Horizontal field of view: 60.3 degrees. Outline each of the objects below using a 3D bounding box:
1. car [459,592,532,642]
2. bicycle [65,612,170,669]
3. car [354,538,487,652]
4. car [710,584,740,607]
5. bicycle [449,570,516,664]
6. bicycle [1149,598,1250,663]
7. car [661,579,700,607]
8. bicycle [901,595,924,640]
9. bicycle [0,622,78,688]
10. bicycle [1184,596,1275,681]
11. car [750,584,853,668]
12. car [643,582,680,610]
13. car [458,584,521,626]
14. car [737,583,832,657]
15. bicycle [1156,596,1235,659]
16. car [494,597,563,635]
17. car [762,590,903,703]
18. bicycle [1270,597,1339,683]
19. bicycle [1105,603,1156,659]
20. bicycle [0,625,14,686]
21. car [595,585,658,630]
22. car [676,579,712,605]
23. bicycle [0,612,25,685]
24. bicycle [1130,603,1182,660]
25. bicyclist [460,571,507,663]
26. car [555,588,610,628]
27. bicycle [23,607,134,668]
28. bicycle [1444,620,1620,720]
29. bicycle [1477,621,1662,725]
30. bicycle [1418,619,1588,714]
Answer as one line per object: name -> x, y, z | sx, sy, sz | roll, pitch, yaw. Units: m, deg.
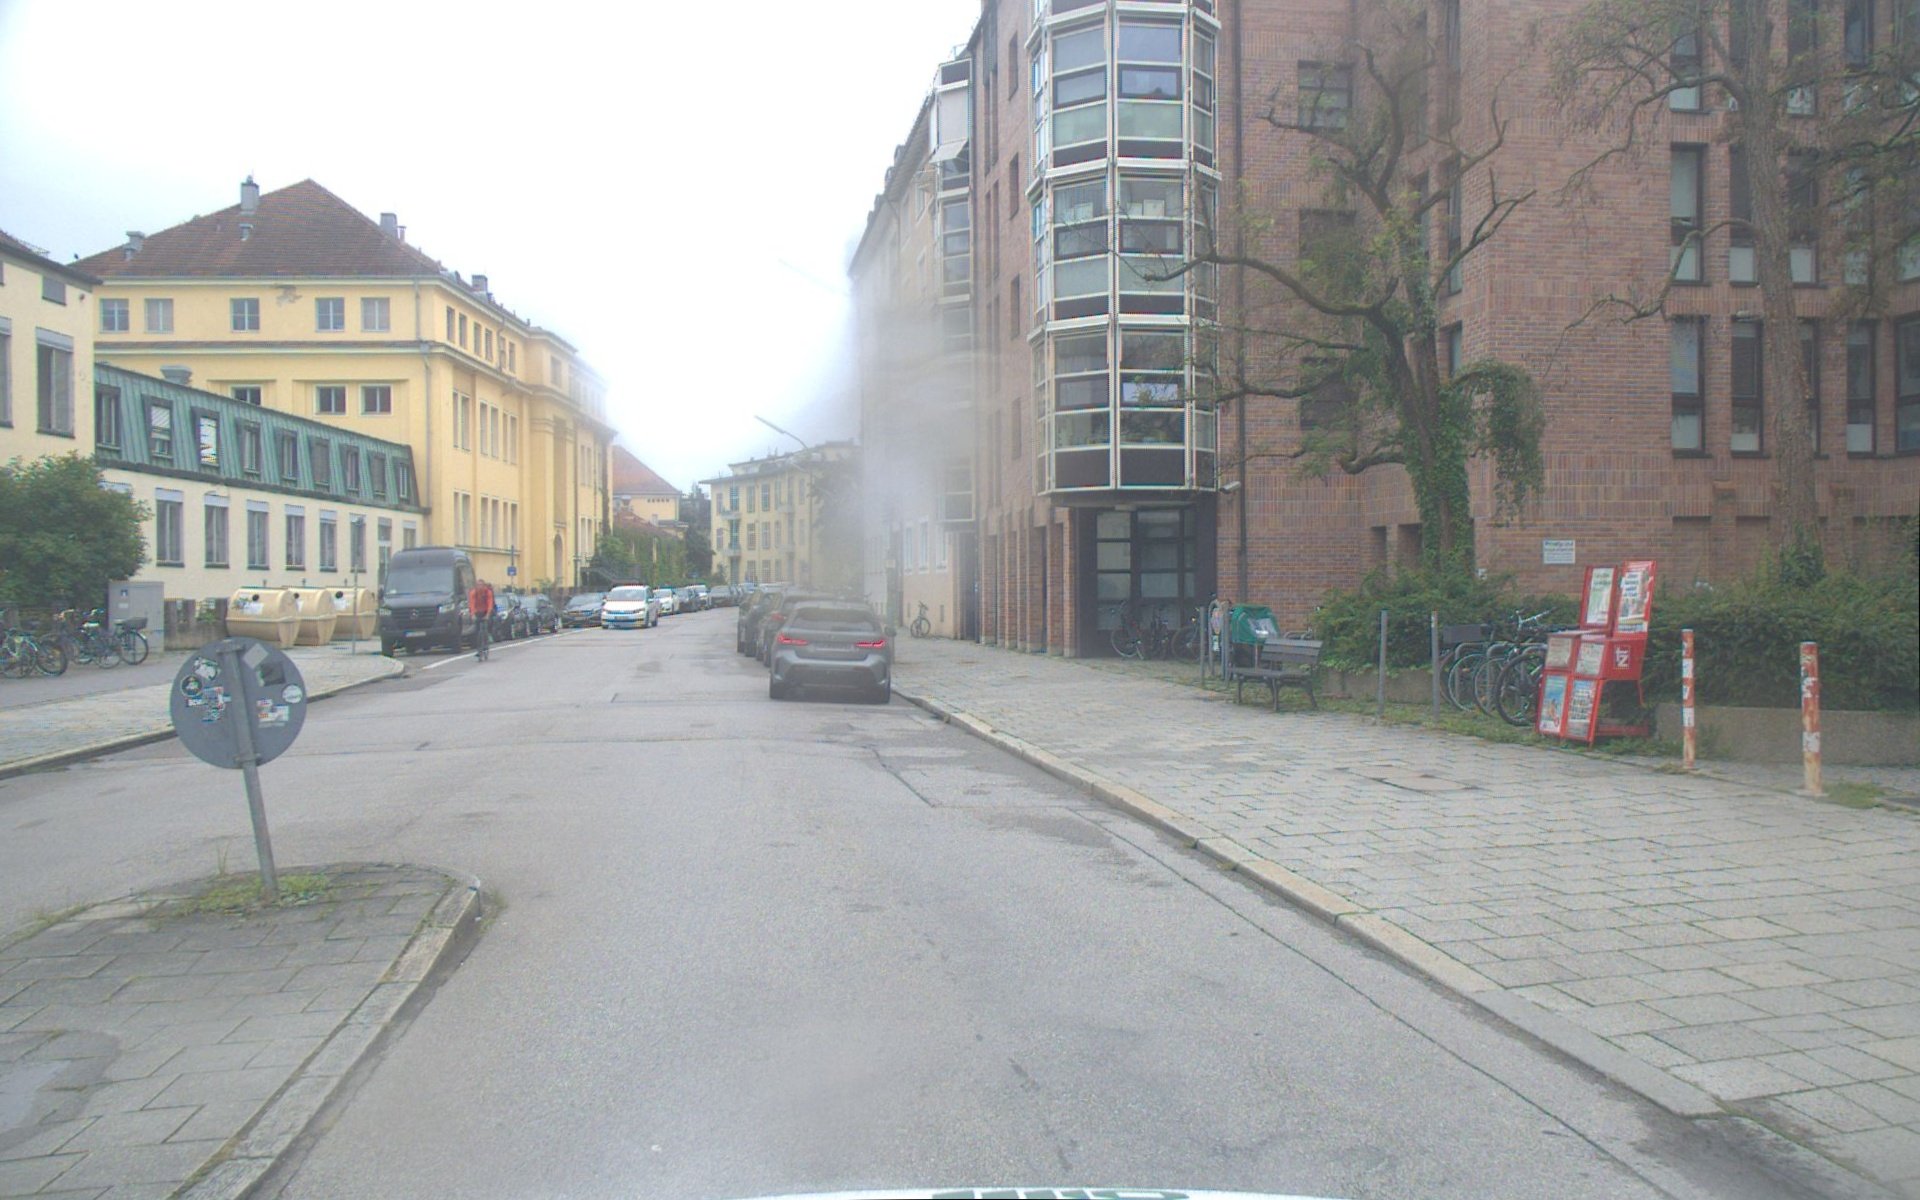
car -> -15.435, 0.538, 55.094 | 1.666, 1.478, 3.737 | 1, 1, -6
bicycle -> -17.686, 0.850, 34.747 | 1.865, 1.111, 0.678 | 1, 1, 2
car -> -14.244, -0.106, 44.046 | 2.377, 2.762, 5.940 | -2, 0, -9
car -> -17.371, -0.376, 122.497 | 1.954, 1.575, 3.997 | 1, 1, -5
bicycle -> -11.064, 0.351, 38.428 | 0.733, 2.048, 2.847 | -2, 1, -2
bicycle -> 4.544, 0.578, 31.400 | 1.811, 1.167, 0.488 | 1, 1, -2
car -> -16.738, -0.435, 99.239 | 1.954, 1.575, 3.997 | 1, 1, -5
bicycle -> -1.489, 0.526, 51.776 | 0.459, 1.310, 2.671 | 1, 1, -6
bicycle -> -17.537, 1.001, 30.482 | 2.262, 1.155, 0.582 | 1, 1, 2
bicycle -> 4.191, 0.587, 25.922 | 0.525, 1.270, 2.405 | 1, -1, -13
car -> -3.494, 0.515, 35.835 | 1.797, 1.630, 4.255 | 1, 1, -11
car -> -16.871, -0.236, 93.557 | 1.664, 1.469, 3.506 | 1, 1, -4
car -> -20.275, 0.208, 71.378 | 1.685, 1.689, 3.747 | 1, 1, -2
car -> -4.390, 0.441, 40.831 | 1.929, 1.630, 4.659 | 1, 1, -11
bicycle -> 4.532, 0.534, 31.851 | 1.447, 1.167, 0.383 | 1, 1, -2
car -> -15.667, 0.565, 60.192 | 1.497, 1.223, 3.741 | 1, 1, 0
car -> -2.036, 0.643, 25.338 | 1.889, 1.539, 4.384 | 1, 0, -8
bicycle -> 4.939, 0.556, 23.695 | 0.413, 1.193, 1.356 | 2, 1, 36
bicycle -> 3.384, 0.601, 32.949 | 0.477, 1.078, 1.991 | 1, 0, -10
bicycle -> -17.660, 0.957, 29.019 | 1.828, 1.047, 0.540 | 1, 1, 2
car -> -13.217, 0.322, 65.729 | 1.987, 1.649, 4.498 | -2, -1, -6
car -> -17.488, -0.552, 108.845 | 1.954, 1.575, 3.997 | 1, 1, -5
bicycle -> -17.422, 0.835, 28.406 | 2.500, 1.227, 0.424 | 0, 1, 2
bicycle -> 3.902, 0.612, 33.040 | 0.477, 1.078, 1.991 | 1, 0, -10
bicyclist -> -11.071, 0.386, 38.437 | 0.751, 2.048, 0.767 | -4, 1, -2
car -> -16.095, 0.313, 70.587 | 1.738, 1.577, 3.775 | 1, 1, -5
bicycle -> -17.645, 0.753, 33.107 | 1.916, 1.151, 0.573 | 1, 1, 2
bicycle -> 5.995, 0.732, 17.360 | 1.668, 0.982, 0.545 | 1, 1, -8
bicycle -> 6.121, 0.730, 16.634 | 1.668, 0.982, 0.545 | 1, 1, -8
bicycle -> 5.909, 0.720, 18.026 | 1.668, 0.982, 0.545 | 1, 1, -8
